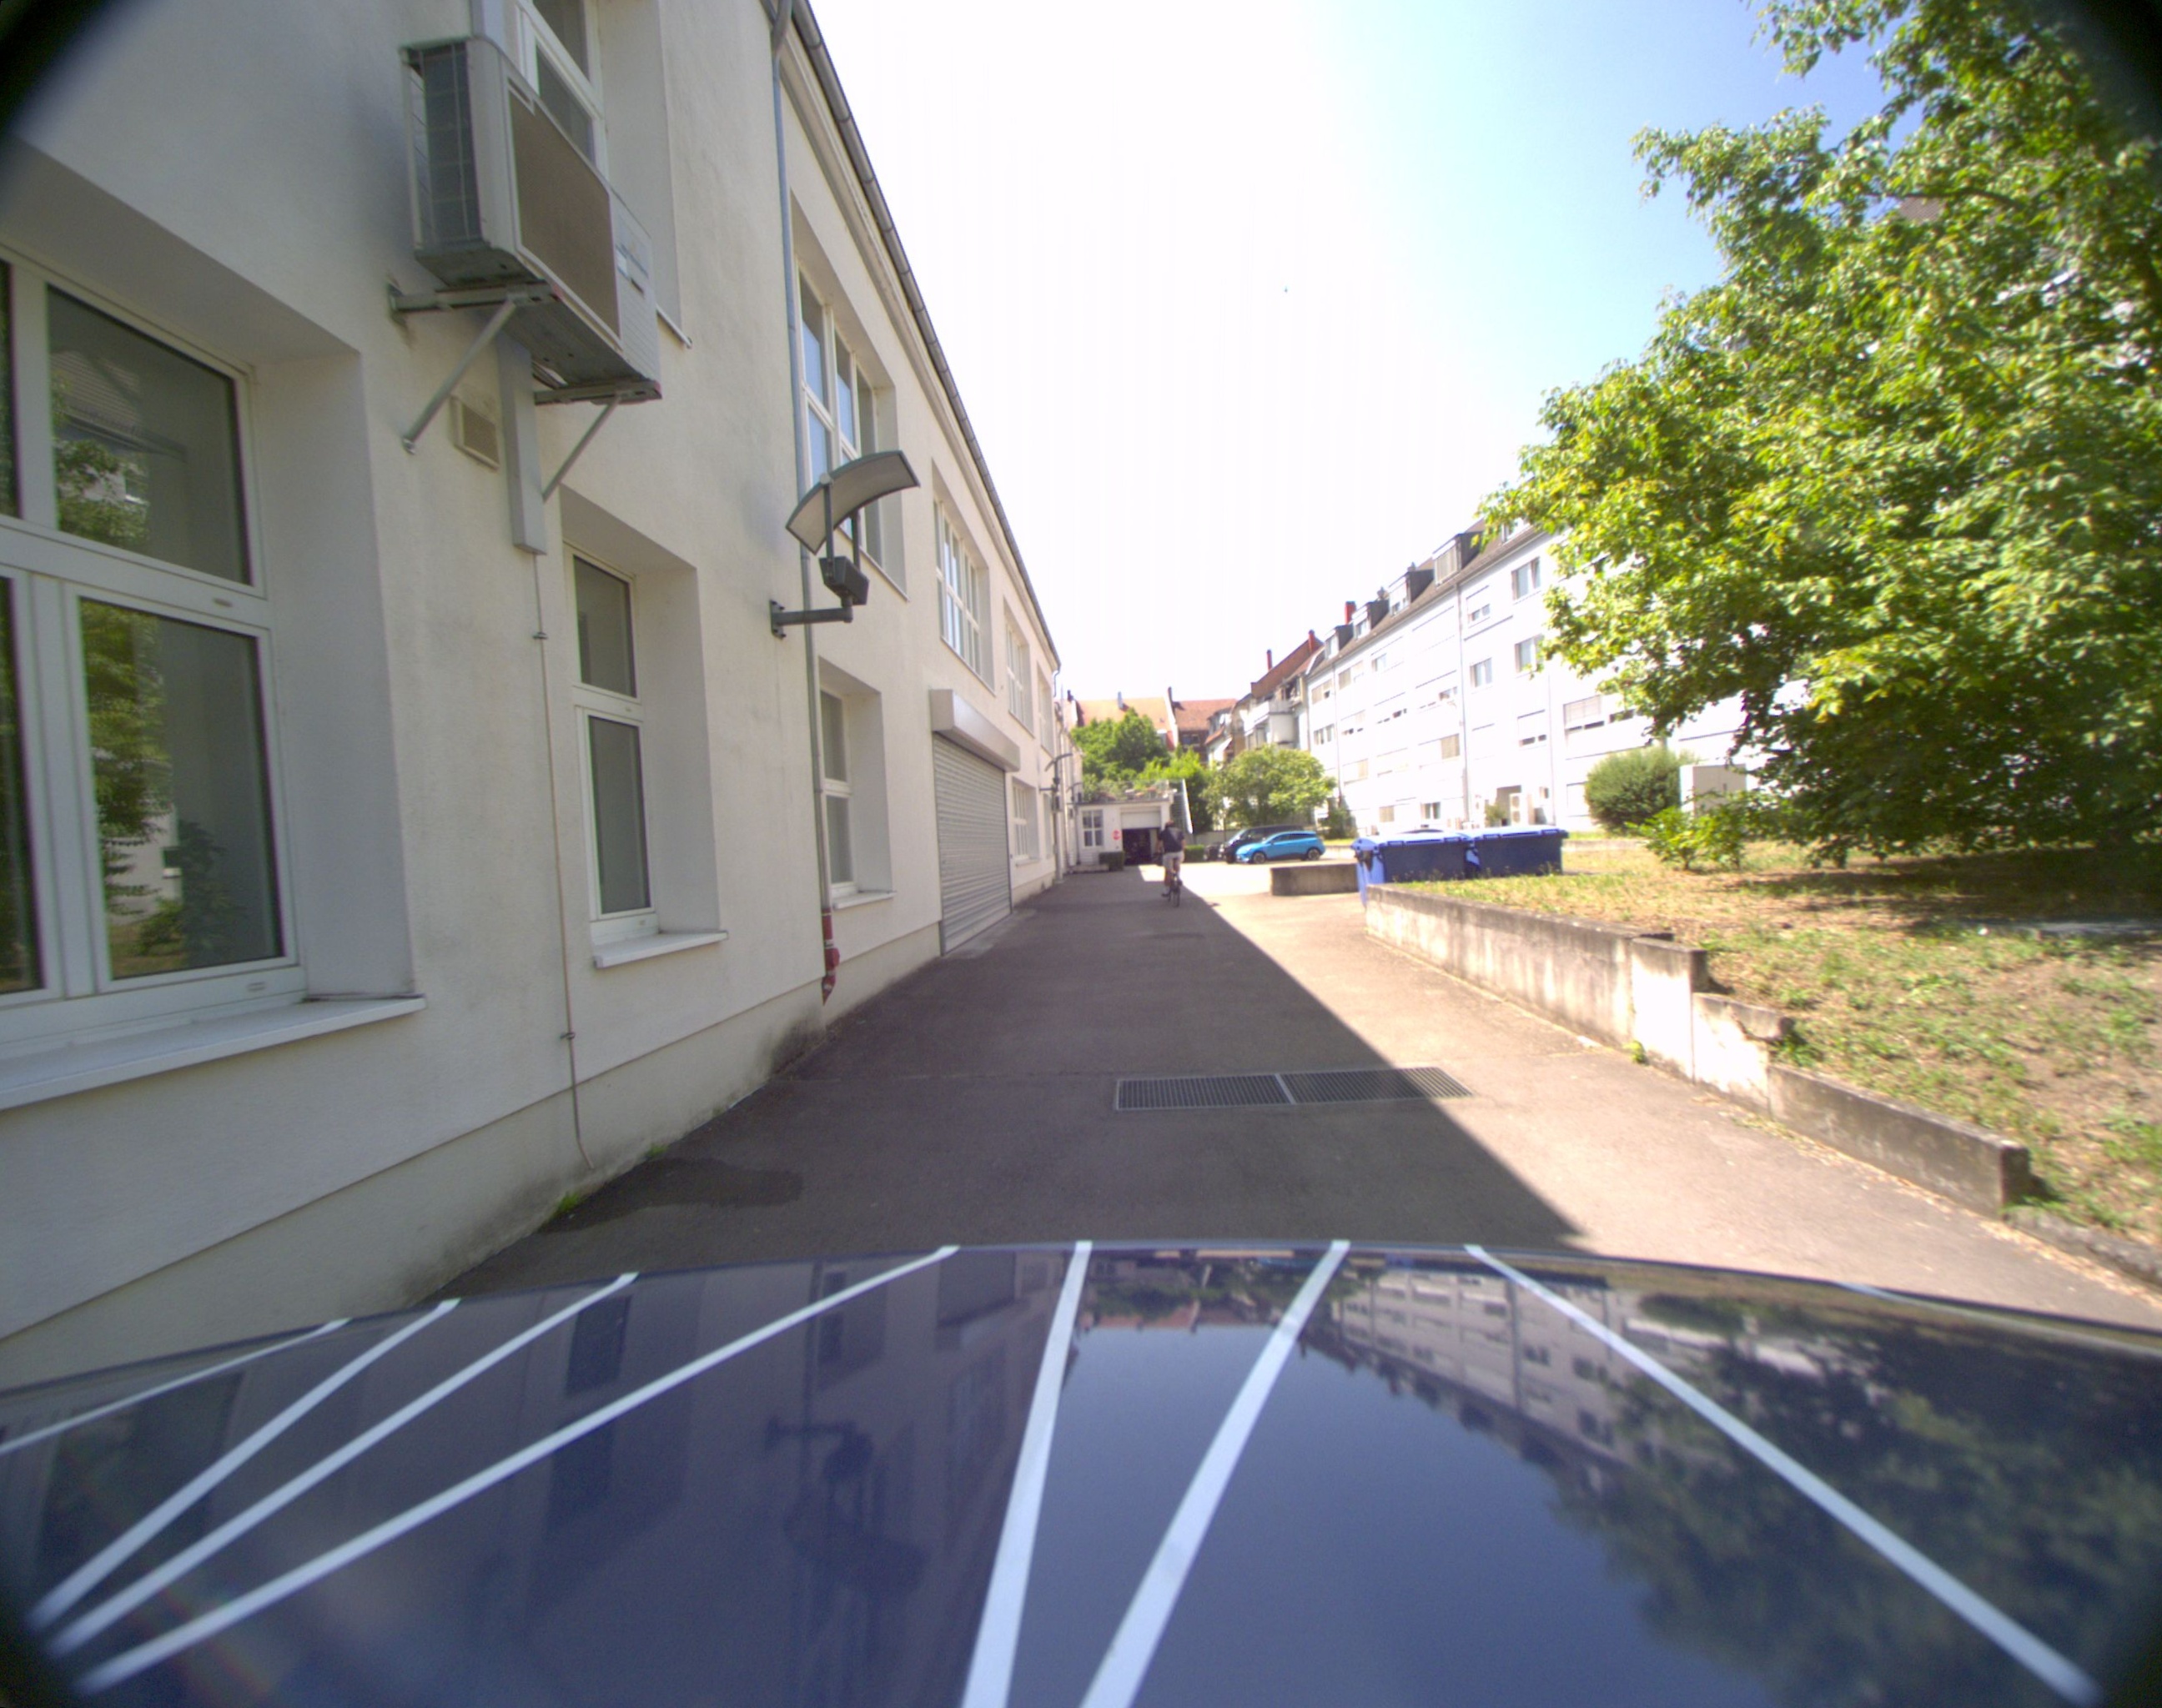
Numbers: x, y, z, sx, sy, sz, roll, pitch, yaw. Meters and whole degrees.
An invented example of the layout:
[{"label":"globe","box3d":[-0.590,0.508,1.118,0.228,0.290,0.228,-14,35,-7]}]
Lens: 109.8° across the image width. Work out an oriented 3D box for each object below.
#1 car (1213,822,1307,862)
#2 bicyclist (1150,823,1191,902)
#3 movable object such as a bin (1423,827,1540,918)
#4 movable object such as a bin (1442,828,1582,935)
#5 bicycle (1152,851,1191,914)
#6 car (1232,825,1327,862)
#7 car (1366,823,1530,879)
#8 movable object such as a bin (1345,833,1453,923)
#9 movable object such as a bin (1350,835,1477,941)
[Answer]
[{"label":"car","box3d":[9.508,-0.652,40.573,4.448,1.822,1.999,-4,2,1]},{"label":"bicyclist","box3d":[1.930,0.165,16.538,0.724,1.601,0.978,-4,3,3]},{"label":"movable object such as a bin","box3d":[6.401,0.273,12.228,1.257,1.320,1.104,-4,1,4]},{"label":"movable object such as a bin","box3d":[5.872,0.349,10.446,1.257,1.320,1.104,-4,1,4]},{"label":"bicycle","box3d":[1.956,0.587,16.582,0.645,1.168,1.904,-4,3,3]},{"label":"car","box3d":[9.841,-0.550,37.877,4.167,1.545,1.859,-3,1,-1]},{"label":"car","box3d":[10.719,-0.100,22.383,3.997,1.428,1.711,-3,1,0]},{"label":"movable object such as a bin","box3d":[5.092,0.360,12.263,1.257,1.320,1.104,-4,1,4]},{"label":"movable object such as a bin","box3d":[4.554,0.436,10.513,1.257,1.320,1.104,-4,1,4]}]
